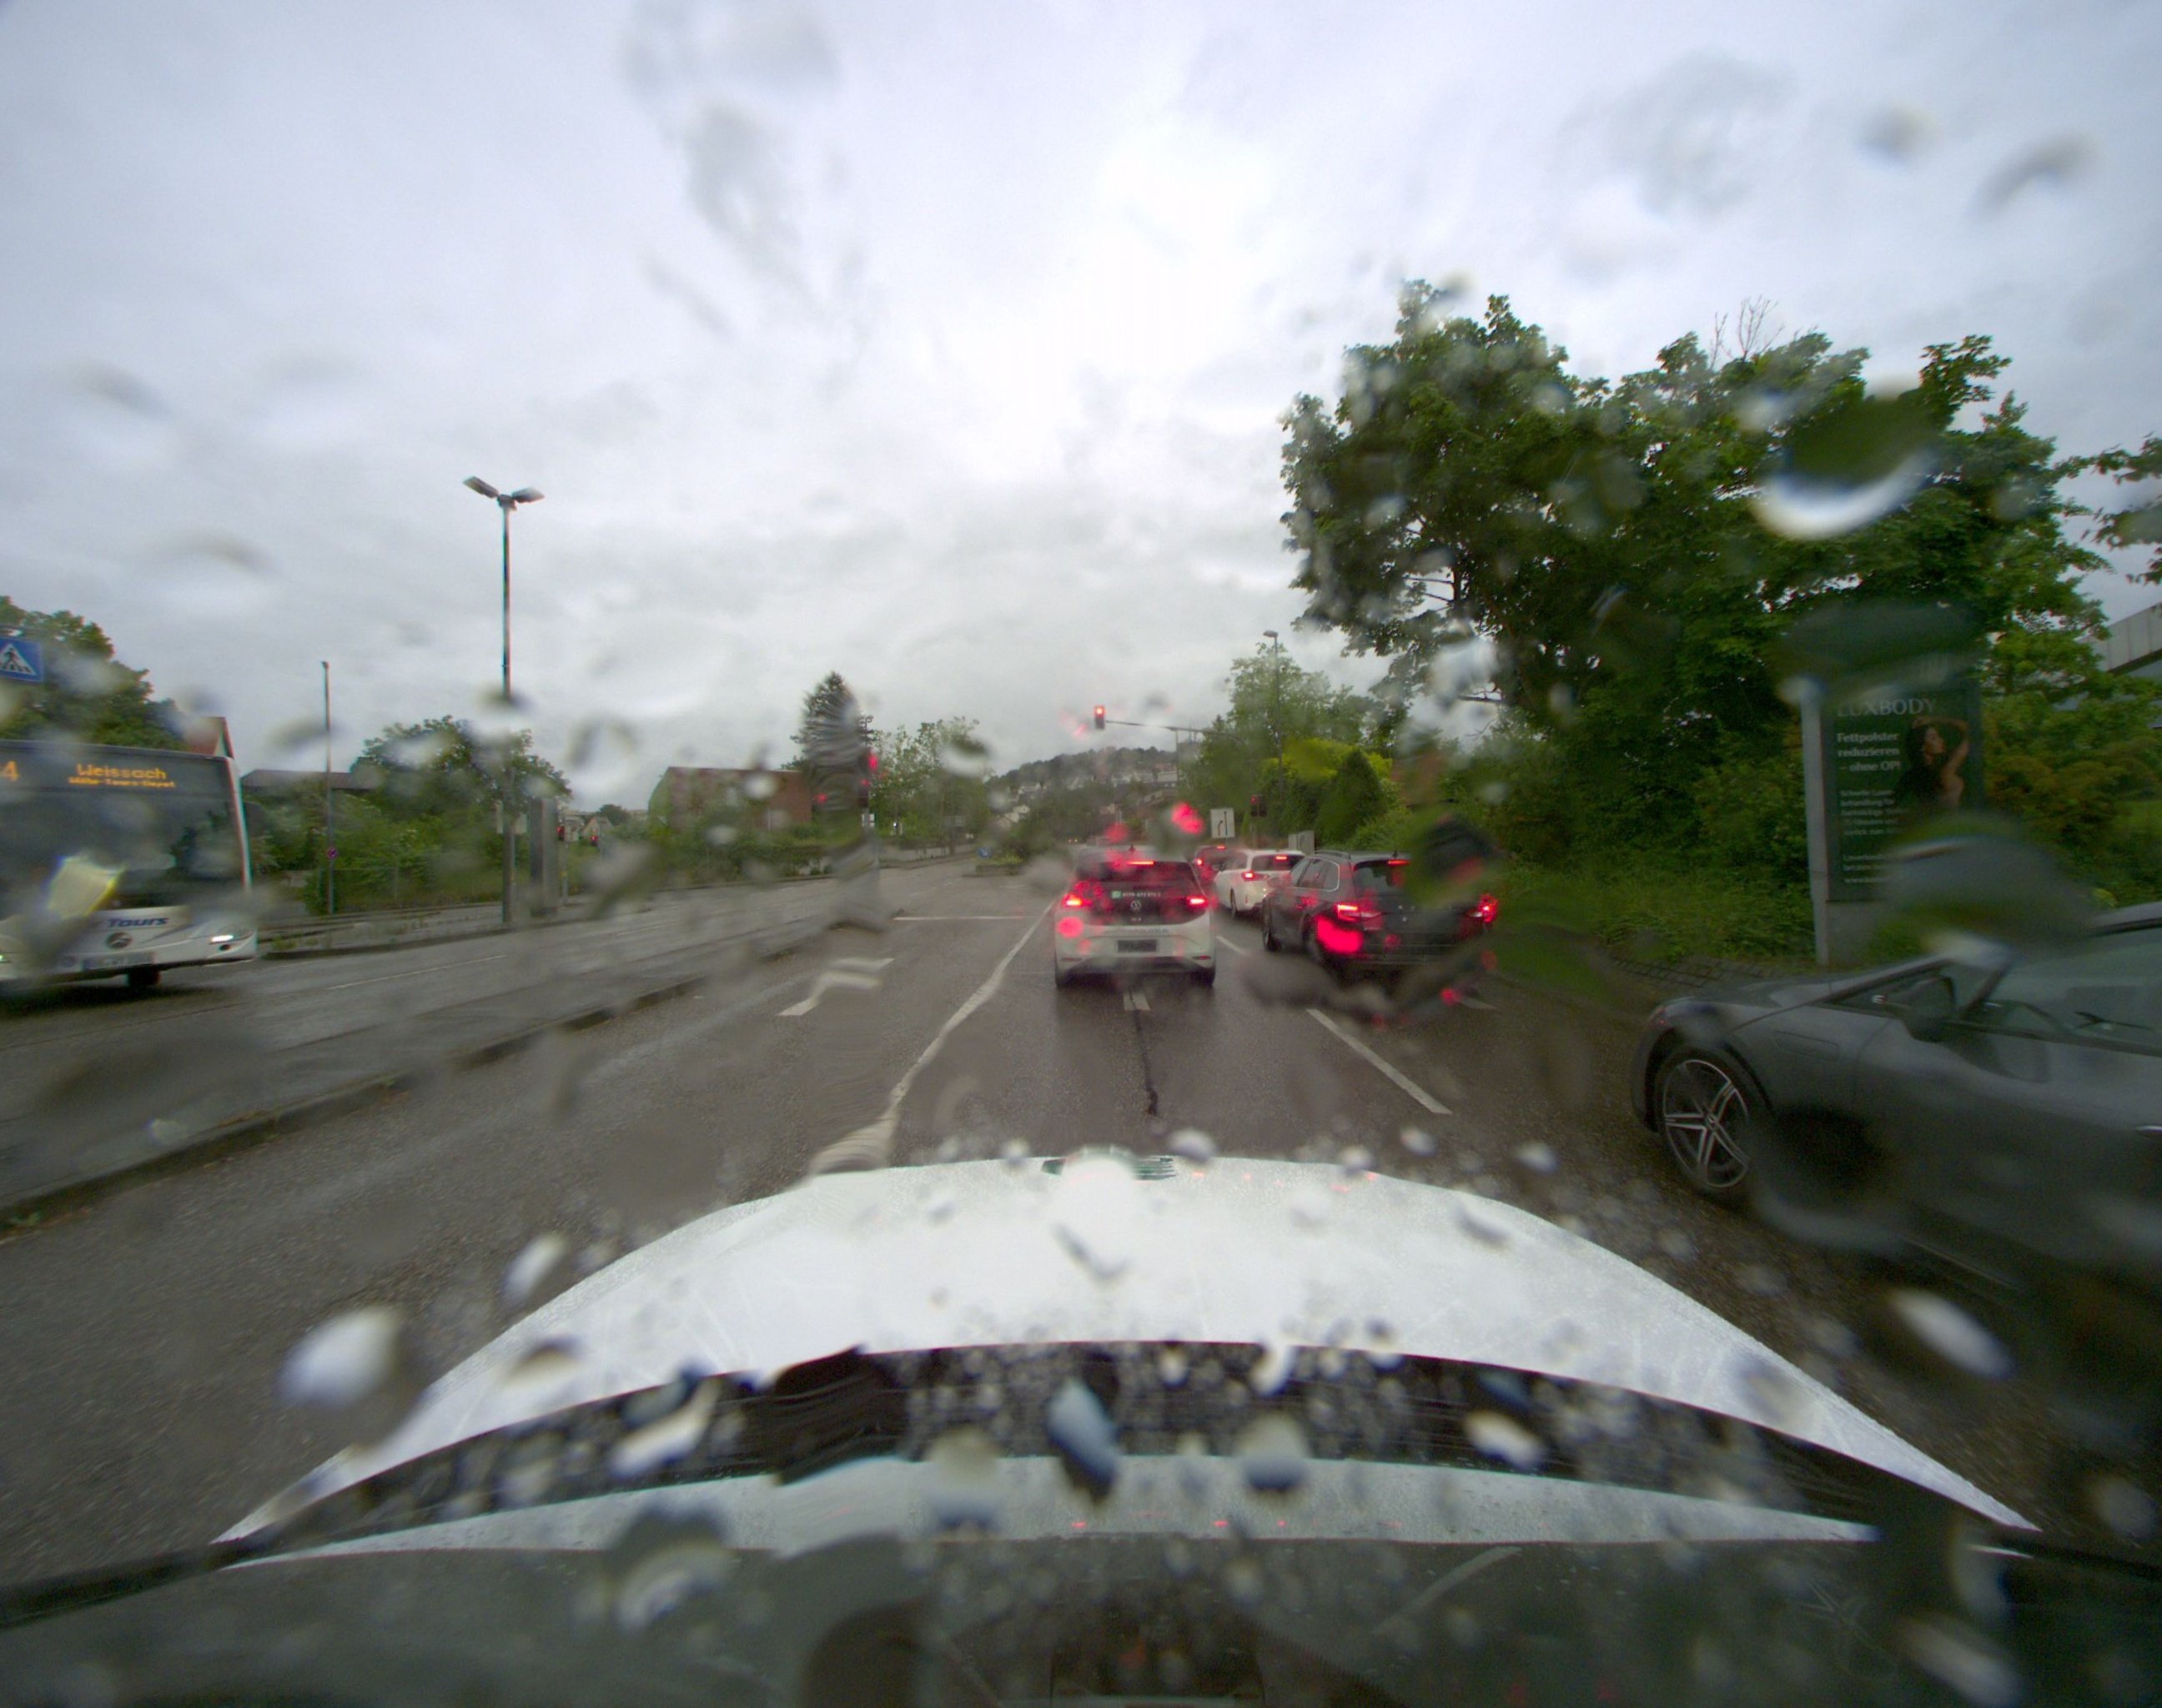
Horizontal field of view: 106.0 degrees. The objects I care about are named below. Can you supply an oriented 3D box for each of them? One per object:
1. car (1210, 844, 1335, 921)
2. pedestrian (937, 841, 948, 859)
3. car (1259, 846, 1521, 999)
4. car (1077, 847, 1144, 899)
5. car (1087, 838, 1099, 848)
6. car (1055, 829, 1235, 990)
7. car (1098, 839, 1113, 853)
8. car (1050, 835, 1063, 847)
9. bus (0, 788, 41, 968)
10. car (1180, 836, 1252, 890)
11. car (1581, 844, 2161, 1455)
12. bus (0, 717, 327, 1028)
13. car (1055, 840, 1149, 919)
[{"bbox_3d":[4.000,0.526,17.687,1.831,1.466,4.118,0,1,1],"label":"car"},{"bbox_3d":[-12.884,-0.360,75.984,0.757,1.568,0.825,-4,0,1],"label":"pedestrian"},{"bbox_3d":[3.471,0.641,10.093,1.830,1.466,4.354,0,1,3],"label":"car"},{"bbox_3d":[0.850,0.504,24.176,1.831,1.400,3.832,0,1,1],"label":"car"},{"bbox_3d":[1.939,-1.757,133.068,1.769,1.581,4.002,-3,0,2],"label":"car"},{"bbox_3d":[0.704,0.530,10.577,1.831,1.629,4.617,0,1,1],"label":"car"},{"bbox_3d":[3.122,-1.011,103.669,1.769,1.581,4.002,-3,0,2],"label":"car"},{"bbox_3d":[-4.268,-2.296,143.294,1.986,2.014,4.002,-1,-1,2],"label":"car"},{"bbox_3d":[-23.364,0.585,13.397,9.298,3.114,2.788,-2,0,3],"label":"bus"},{"bbox_3d":[4.211,0.272,25.972,1.769,1.581,4.002,0,0,2],"label":"car"},{"bbox_3d":[3.512,0.712,1.908,1.831,1.466,4.810,0,1,1],"label":"car"},{"bbox_3d":[-14.419,0.322,10.884,8.777,3.114,2.816,-2,0,22],"label":"bus"},{"bbox_3d":[0.463,0.473,18.037,1.831,1.554,4.176,0,1,1],"label":"car"}]
